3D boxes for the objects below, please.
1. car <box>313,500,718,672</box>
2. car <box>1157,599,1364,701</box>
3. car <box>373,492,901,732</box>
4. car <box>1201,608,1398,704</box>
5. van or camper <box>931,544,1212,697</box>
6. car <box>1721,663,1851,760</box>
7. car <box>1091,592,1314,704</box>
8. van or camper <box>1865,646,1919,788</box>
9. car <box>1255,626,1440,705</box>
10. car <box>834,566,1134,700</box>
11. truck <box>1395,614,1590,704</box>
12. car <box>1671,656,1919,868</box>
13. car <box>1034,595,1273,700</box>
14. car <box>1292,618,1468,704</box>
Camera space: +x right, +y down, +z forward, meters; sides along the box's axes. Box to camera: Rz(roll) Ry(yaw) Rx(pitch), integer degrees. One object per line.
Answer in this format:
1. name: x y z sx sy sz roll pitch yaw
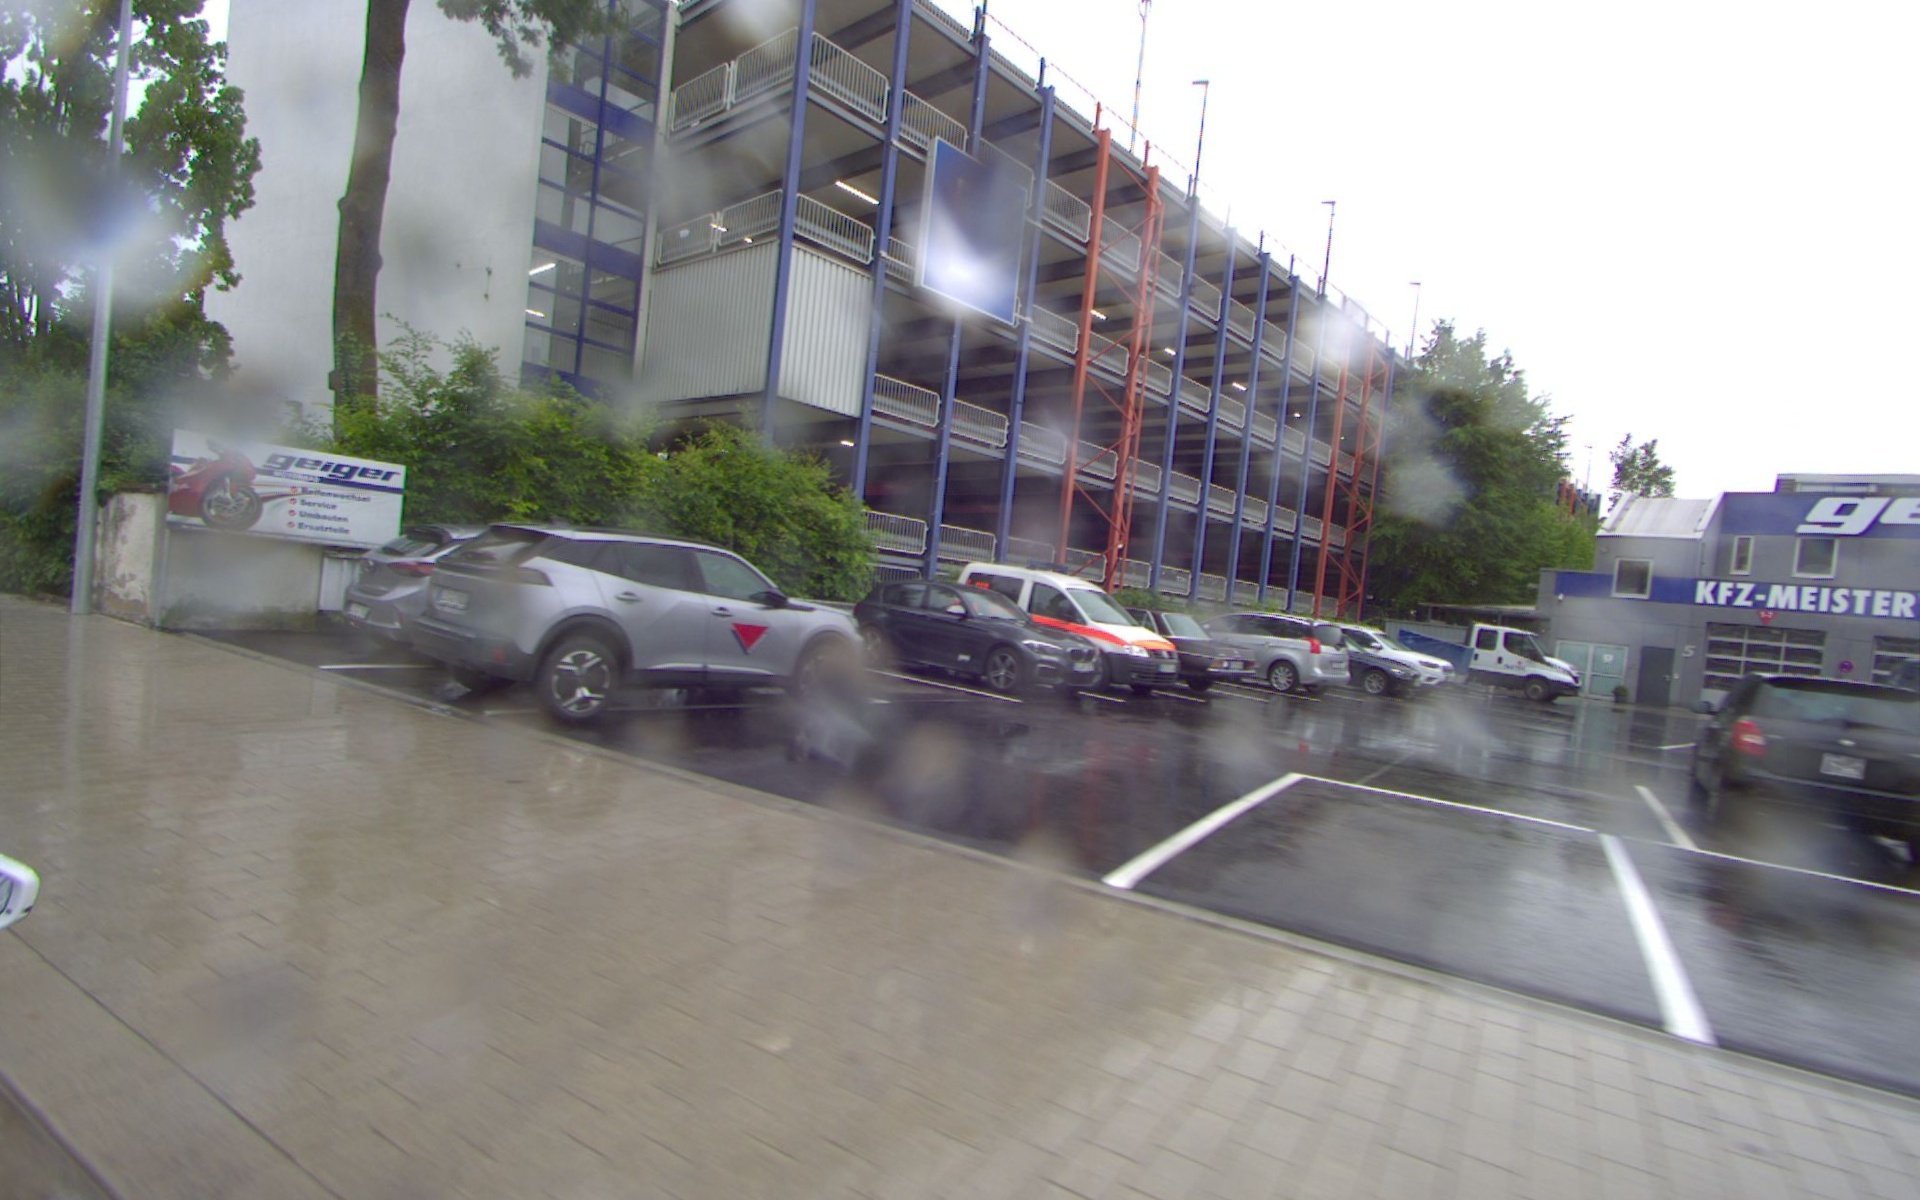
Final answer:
1. car: -4.762 -0.087 11.133 1.780 1.514 3.614 8 2 40
2. car: 6.617 1.070 22.427 3.946 1.701 1.725 8 3 44
3. car: -2.782 0.112 9.377 1.972 1.672 4.197 7 3 41
4. car: 8.012 1.291 23.990 3.946 1.701 1.725 8 3 44
5. van or camper: 1.792 0.291 17.258 4.401 2.062 1.833 7 1 43
6. car: 19.725 2.698 23.956 1.920 1.835 3.981 4 -5 45
7. car: 4.841 0.922 20.461 3.946 1.701 1.725 8 3 44
8. van or camper: 18.315 2.184 18.334 2.190 2.356 4.947 8 2 39
9. car: 9.931 1.658 25.944 3.947 1.502 1.891 4 -4 43
10. car: 0.266 0.459 15.245 4.146 1.460 1.930 7 1 40
11. truck: 17.503 1.910 33.234 5.235 2.294 1.993 4 -4 41
12. car: 8.224 1.436 9.892 1.615 1.519 3.690 7 0 32
13. car: 3.541 0.839 18.790 3.941 1.372 1.727 8 2 39
14. car: 11.562 1.654 27.798 3.947 1.833 1.891 4 -4 43
